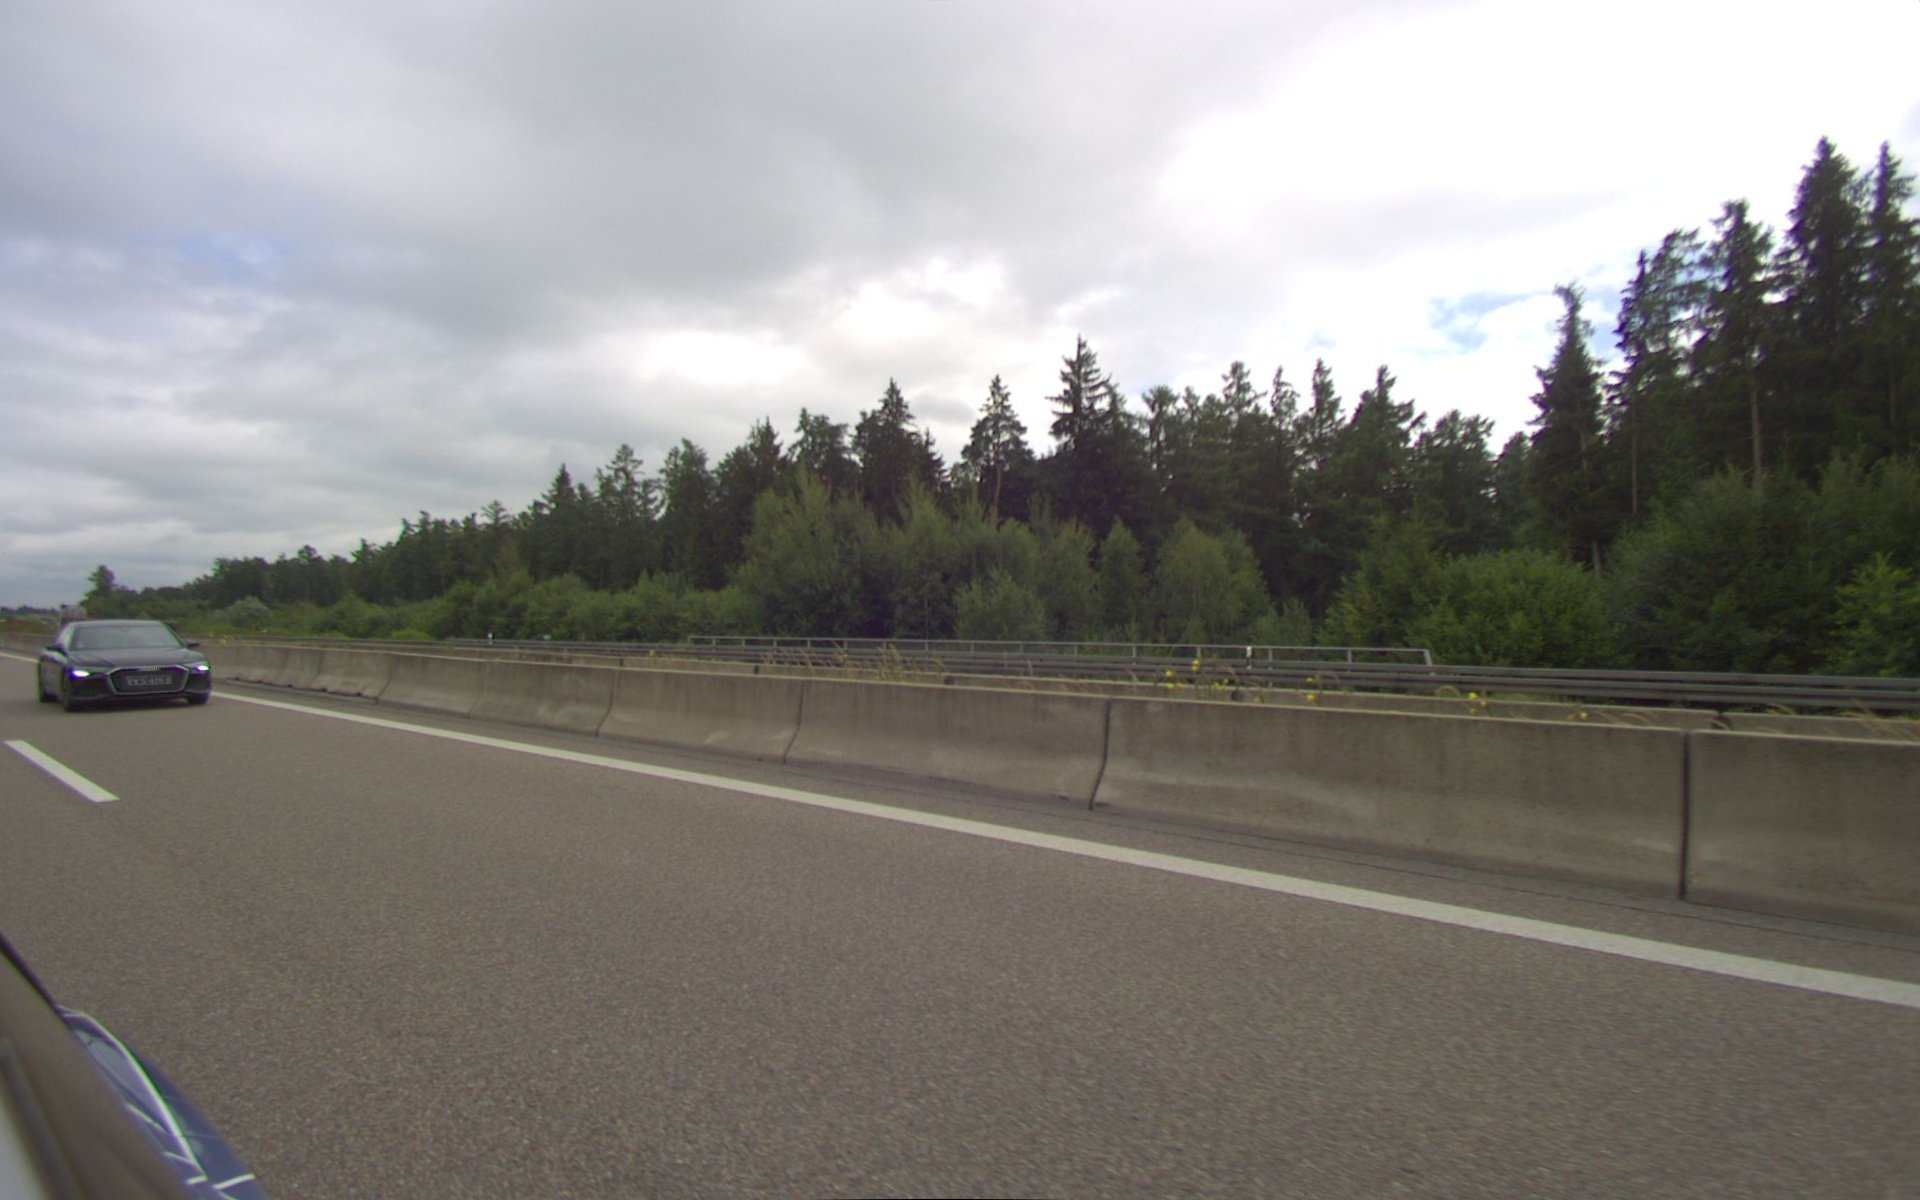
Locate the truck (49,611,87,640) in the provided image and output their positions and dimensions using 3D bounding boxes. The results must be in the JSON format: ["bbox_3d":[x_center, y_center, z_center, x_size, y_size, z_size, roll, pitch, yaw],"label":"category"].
[{"bbox_3d":[-109.616,3.106,124.362,5.343,3.445,2.903,-2,0,42],"label":"truck"}]

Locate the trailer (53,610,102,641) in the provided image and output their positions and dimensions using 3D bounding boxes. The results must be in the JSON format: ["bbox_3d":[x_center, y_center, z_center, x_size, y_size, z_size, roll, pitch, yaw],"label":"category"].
[{"bbox_3d":[-104.279,2.970,119.487,13.268,3.445,2.903,-1,0,42],"label":"trailer"}]

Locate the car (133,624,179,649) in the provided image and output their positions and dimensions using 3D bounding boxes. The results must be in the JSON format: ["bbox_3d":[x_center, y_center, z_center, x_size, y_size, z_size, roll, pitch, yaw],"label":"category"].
[{"bbox_3d":[-70.423,3.148,88.645,5.267,2.028,2.231,-1,1,42],"label":"car"}]

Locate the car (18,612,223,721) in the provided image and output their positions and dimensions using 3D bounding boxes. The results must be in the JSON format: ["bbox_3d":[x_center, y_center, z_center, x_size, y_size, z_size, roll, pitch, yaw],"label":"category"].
[{"bbox_3d":[-14.800,1.043,17.699,5.674,1.562,2.062,-1,0,43],"label":"car"}]
